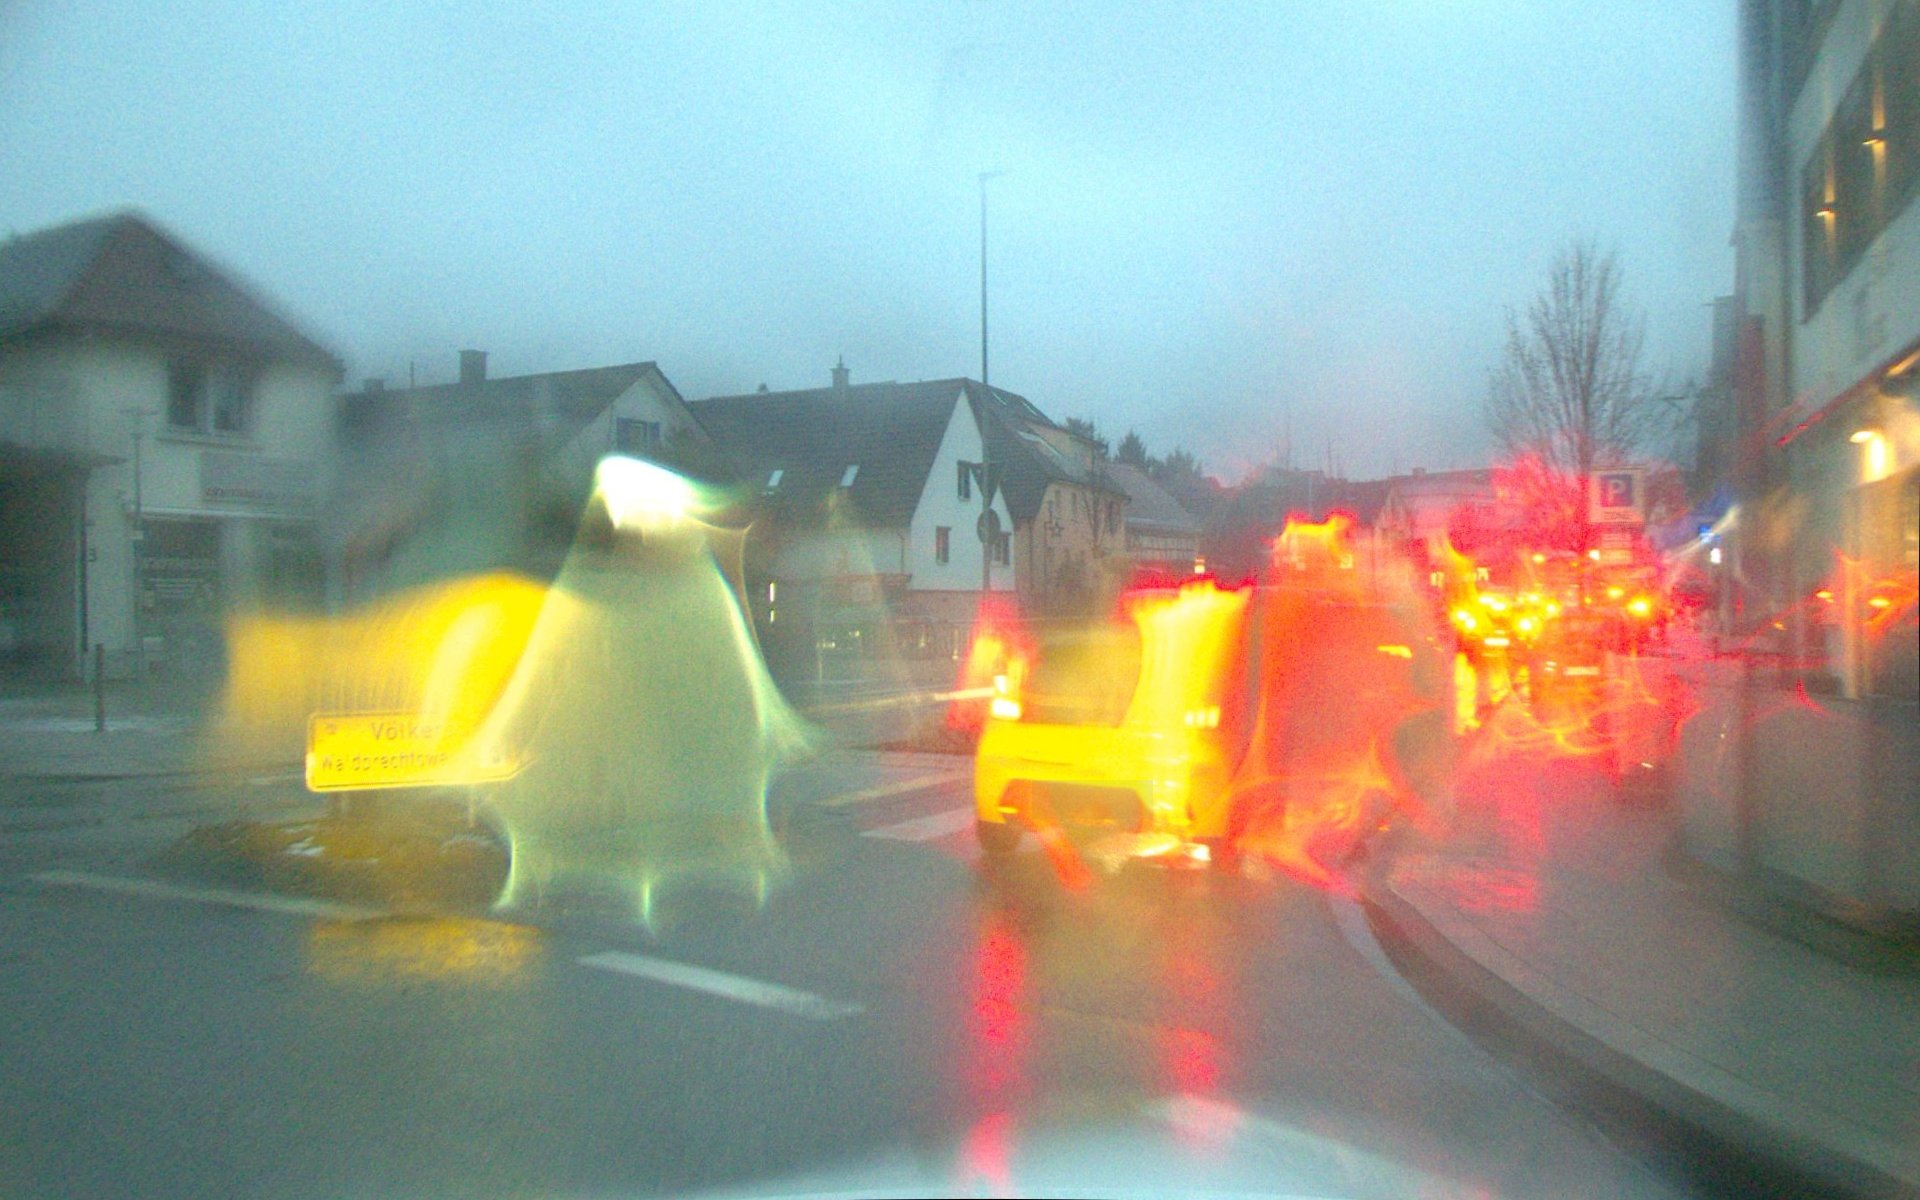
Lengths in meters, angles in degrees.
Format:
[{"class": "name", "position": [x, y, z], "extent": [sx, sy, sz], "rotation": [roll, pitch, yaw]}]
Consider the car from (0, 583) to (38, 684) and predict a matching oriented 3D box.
[{"class": "car", "position": [-19.136, 0.614, 30.962], "extent": [3.920, 1.829, 1.802], "rotation": [0, 1, 36]}]

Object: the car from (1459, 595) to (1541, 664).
[{"class": "car", "position": [14.154, 0.740, 43.243], "extent": [1.687, 1.660, 3.999], "rotation": [0, 1, 24]}]

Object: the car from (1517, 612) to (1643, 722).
[{"class": "car", "position": [10.457, 1.057, 27.748], "extent": [1.774, 1.598, 3.849], "rotation": [0, 1, 24]}]

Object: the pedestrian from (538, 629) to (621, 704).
[{"class": "pedestrian", "position": [-5.417, 0.935, 23.583], "extent": [0.843, 1.028, 0.811], "rotation": [0, 0, 20]}]

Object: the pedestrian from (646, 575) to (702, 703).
[{"class": "pedestrian", "position": [-4.191, 0.558, 24.251], "extent": [0.714, 1.850, 0.531], "rotation": [0, 0, 0]}]

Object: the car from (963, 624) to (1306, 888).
[{"class": "car", "position": [1.378, 0.910, 11.381], "extent": [1.673, 1.447, 4.015], "rotation": [0, -1, 16]}]

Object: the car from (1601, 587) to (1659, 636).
[{"class": "car", "position": [22.169, 0.360, 54.687], "extent": [1.656, 1.493, 3.717], "rotation": [0, 1, 24]}]

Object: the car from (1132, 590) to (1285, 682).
[{"class": "car", "position": [4.735, 0.617, 31.042], "extent": [1.706, 1.596, 4.058], "rotation": [0, 1, 26]}]

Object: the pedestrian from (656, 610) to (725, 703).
[{"class": "pedestrian", "position": [-4.121, 0.853, 25.317], "extent": [0.767, 1.371, 0.716], "rotation": [0, 0, 24]}]

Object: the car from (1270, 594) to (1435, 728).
[{"class": "car", "position": [5.543, 0.769, 23.016], "extent": [1.875, 1.643, 3.952], "rotation": [0, 1, 18]}]

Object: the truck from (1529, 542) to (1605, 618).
[{"class": "truck", "position": [25.835, -0.839, 70.278], "extent": [2.660, 3.063, 5.990], "rotation": [0, 1, 24]}]
